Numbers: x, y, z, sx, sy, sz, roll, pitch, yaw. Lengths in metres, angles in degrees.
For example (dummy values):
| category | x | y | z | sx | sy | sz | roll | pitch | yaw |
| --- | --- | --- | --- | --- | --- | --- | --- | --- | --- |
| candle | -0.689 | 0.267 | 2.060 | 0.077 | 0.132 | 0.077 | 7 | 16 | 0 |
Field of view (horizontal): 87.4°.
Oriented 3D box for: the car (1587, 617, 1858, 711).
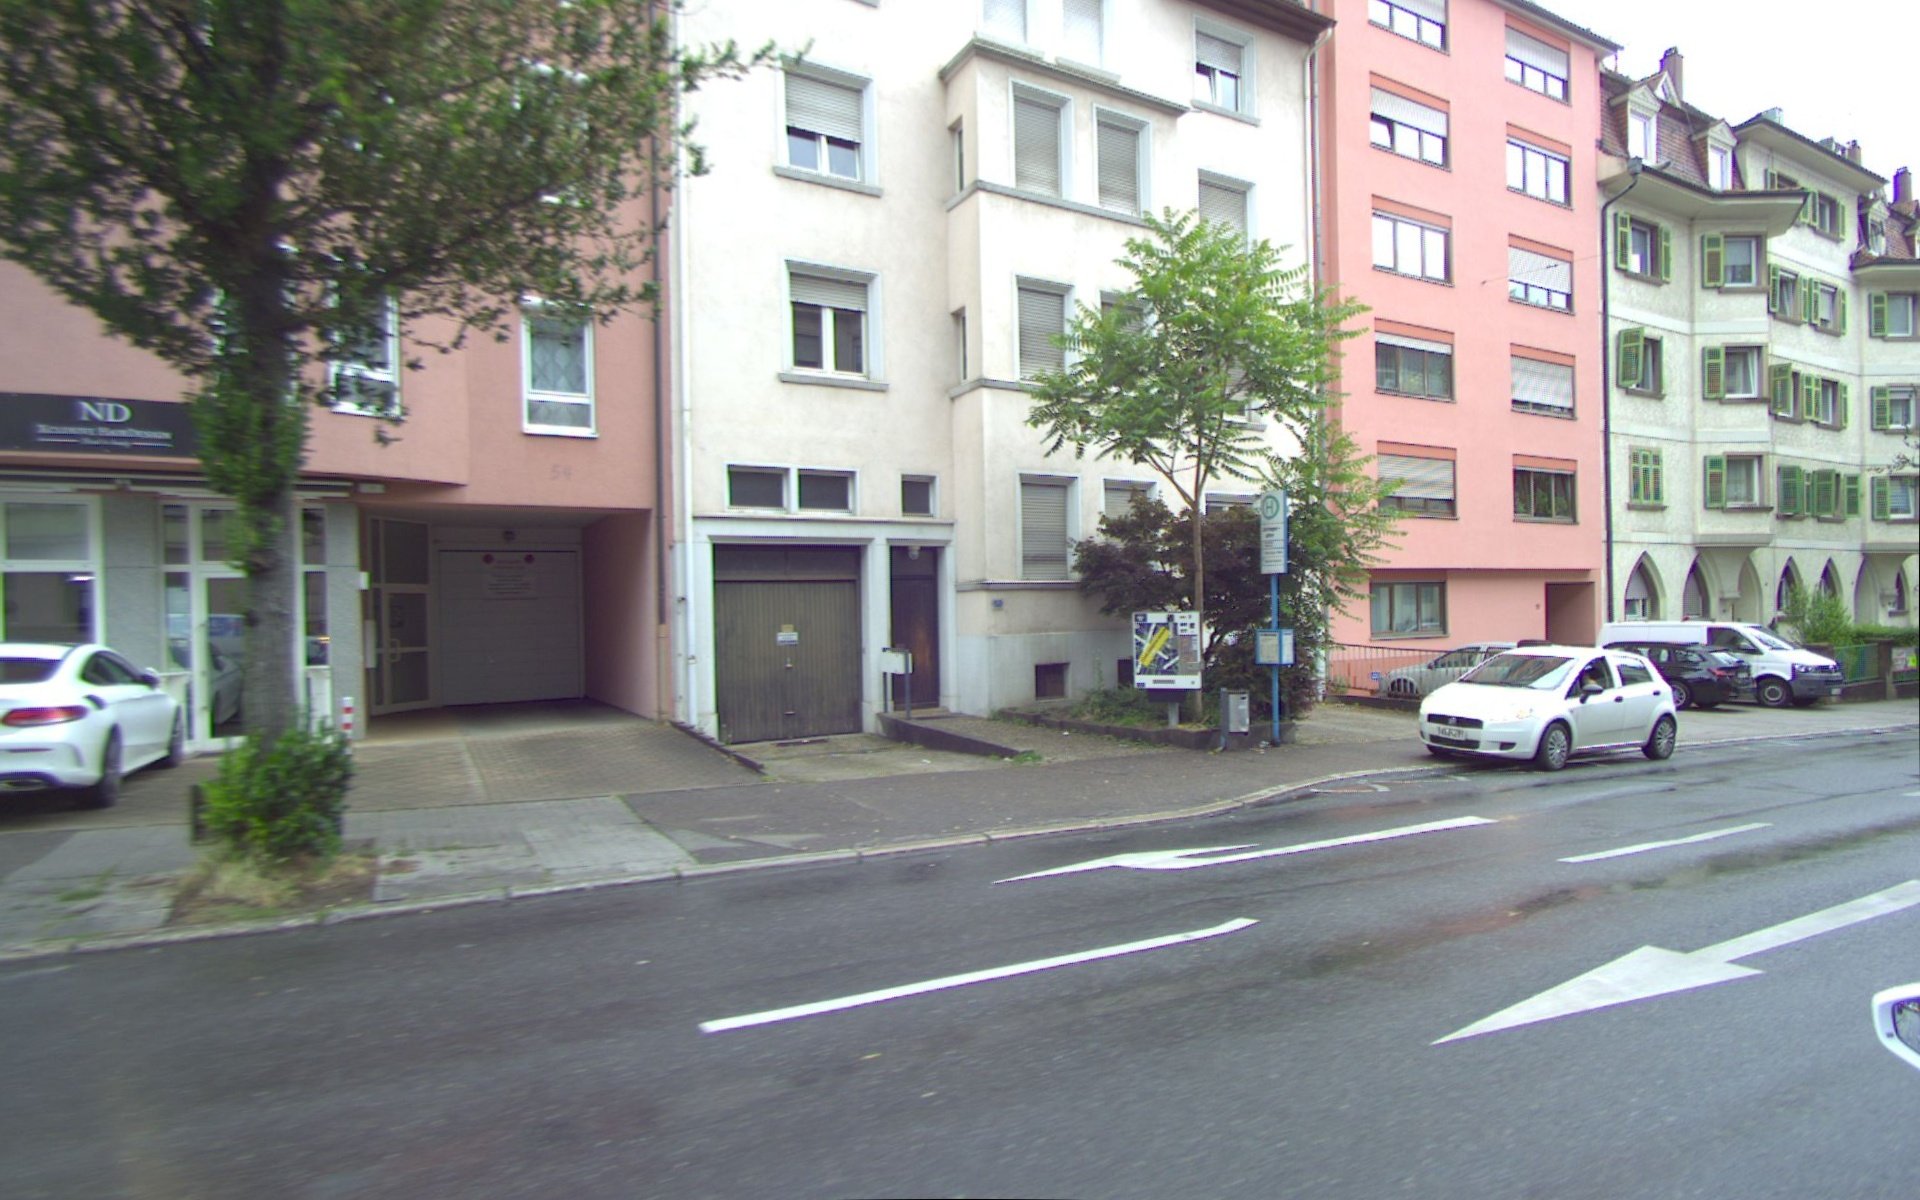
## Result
| category | x | y | z | sx | sy | sz | roll | pitch | yaw |
| --- | --- | --- | --- | --- | --- | --- | --- | --- | --- |
| car | 18.167 | 1.479 | 24.231 | 2.023 | 2.000 | 4.808 | 1 | -2 | -29 |

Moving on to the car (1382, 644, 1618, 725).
| category | x | y | z | sx | sy | sz | roll | pitch | yaw |
| --- | --- | --- | --- | --- | --- | --- | --- | --- | --- |
| car | 10.888 | 1.642 | 20.488 | 1.775 | 1.476 | 3.854 | 2 | -3 | -37 |

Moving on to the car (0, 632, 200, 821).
| category | x | y | z | sx | sy | sz | roll | pitch | yaw |
| --- | --- | --- | --- | --- | --- | --- | --- | --- | --- |
| car | -8.568 | 1.031 | 9.361 | 1.747 | 1.419 | 4.528 | 1 | -3 | -29 |

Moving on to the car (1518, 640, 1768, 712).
| category | x | y | z | sx | sy | sz | roll | pitch | yaw |
| --- | --- | --- | --- | --- | --- | --- | --- | --- | --- |
| car | 15.468 | 1.663 | 23.008 | 1.772 | 1.470 | 4.409 | 1 | -3 | -31 |

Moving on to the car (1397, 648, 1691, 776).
| category | x | y | z | sx | sy | sz | roll | pitch | yaw |
| --- | --- | --- | --- | --- | --- | --- | --- | --- | --- |
| car | 7.829 | 1.385 | 13.407 | 3.956 | 1.465 | 1.614 | 1 | -2 | -29 |
